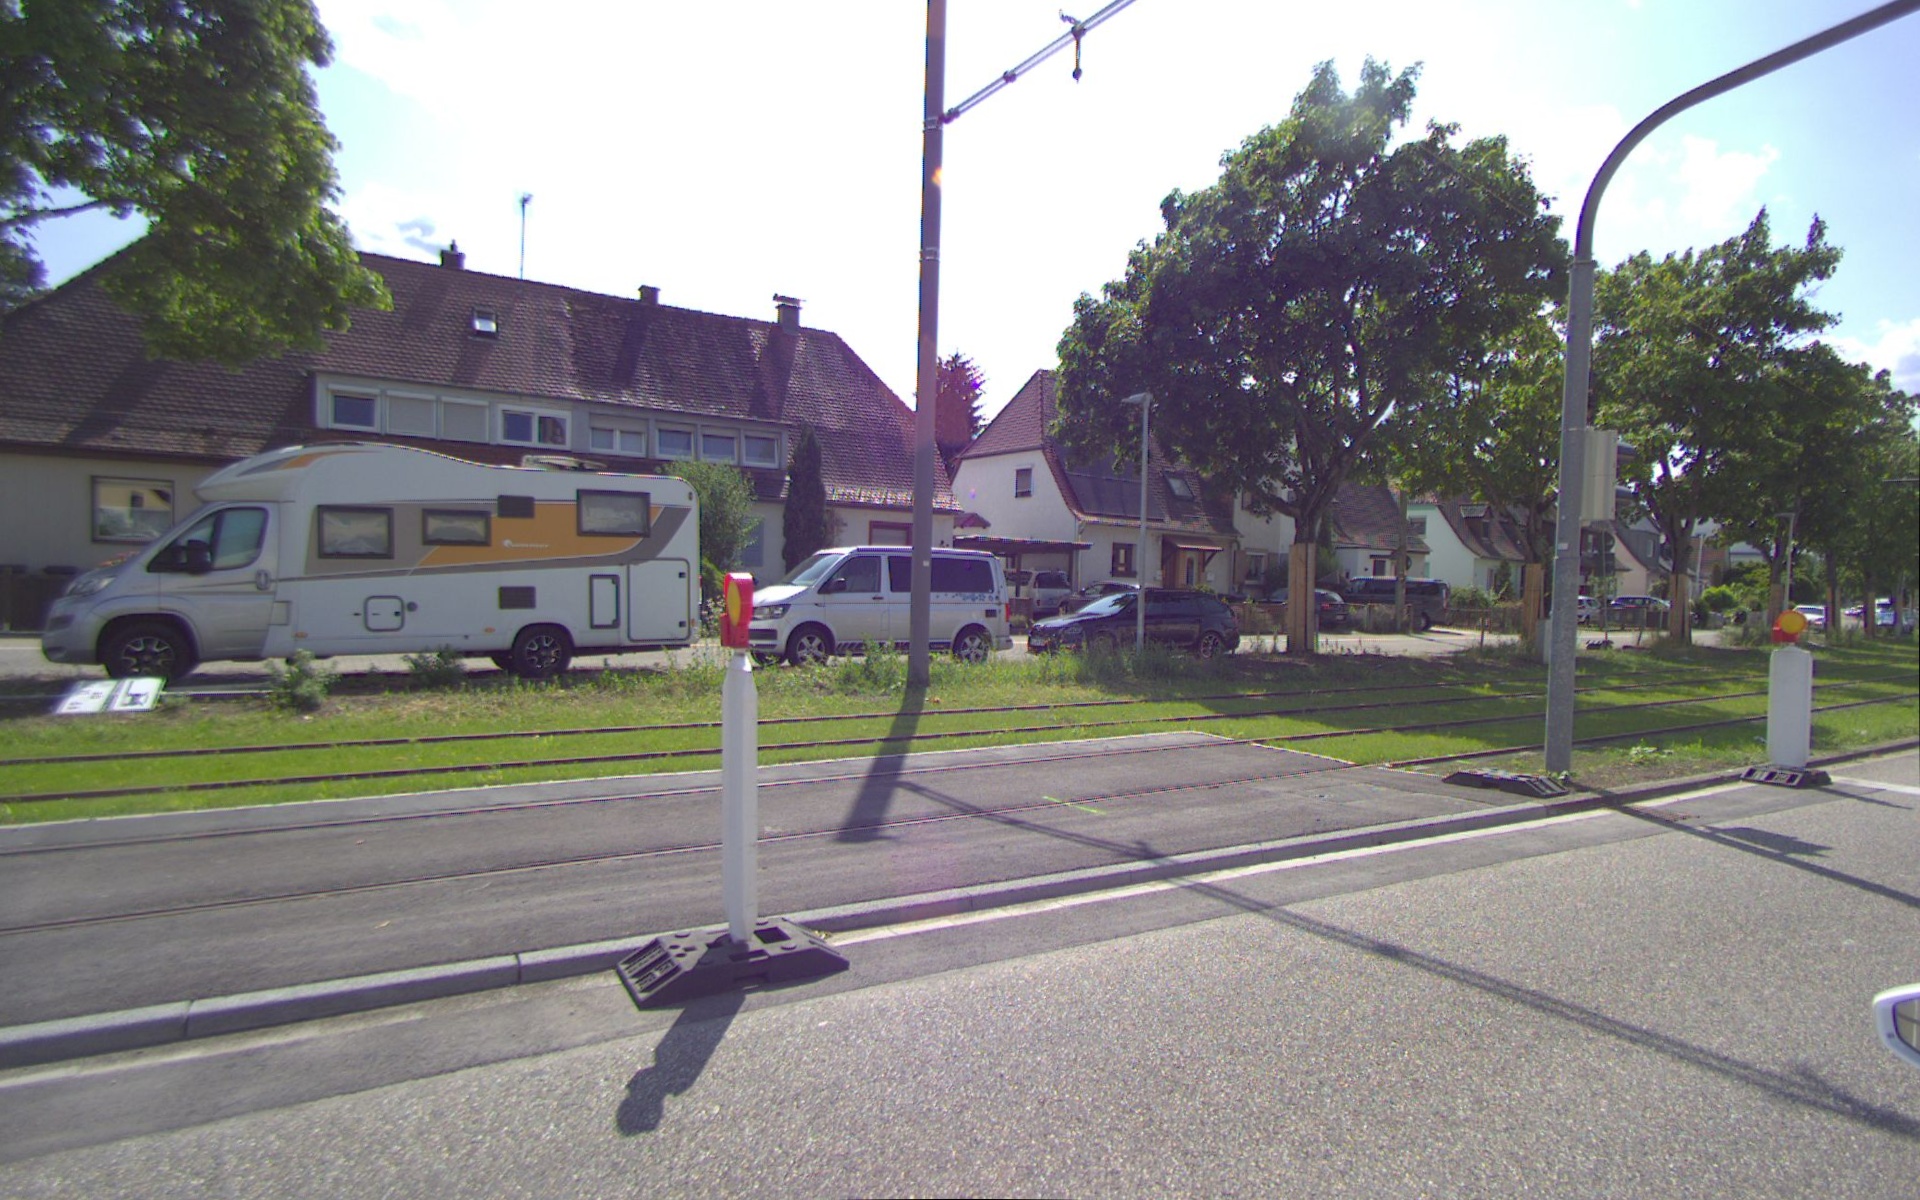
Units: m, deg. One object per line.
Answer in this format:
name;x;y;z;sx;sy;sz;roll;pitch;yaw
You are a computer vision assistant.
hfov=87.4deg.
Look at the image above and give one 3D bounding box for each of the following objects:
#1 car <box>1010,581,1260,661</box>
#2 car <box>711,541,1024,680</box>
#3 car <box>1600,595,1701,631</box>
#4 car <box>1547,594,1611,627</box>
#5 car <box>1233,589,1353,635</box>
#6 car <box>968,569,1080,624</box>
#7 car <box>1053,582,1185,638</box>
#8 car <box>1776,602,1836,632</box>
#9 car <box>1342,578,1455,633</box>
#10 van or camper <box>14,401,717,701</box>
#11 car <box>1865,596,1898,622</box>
car;3.503;0.408;19.922;4.748;1.406;1.844;1;1;-28
car;-1.492;0.169;16.896;4.850;2.041;1.982;1;1;-32
car;39.835;0.705;58.016;2.050;1.861;4.428;1;2;-42
car;31.709;0.533;51.405;4.014;1.538;1.712;1;2;-42
car;12.134;0.408;36.748;1.719;1.476;3.855;1;2;-37
car;2.196;-0.157;35.606;1.782;1.761;3.957;1;2;-37
car;4.989;0.279;31.929;1.856;1.551;3.957;1;2;-37
car;54.138;1.086;64.231;5.037;1.792;1.867;1;1;-38
car;17.731;0.204;40.671;3.830;1.922;1.937;5;3;34
van or camper;-7.069;-0.448;13.042;7.217;3.010;2.362;1;1;-33
car;103.946;1.012;113.362;2.048;2.757;6.974;0;0;37
